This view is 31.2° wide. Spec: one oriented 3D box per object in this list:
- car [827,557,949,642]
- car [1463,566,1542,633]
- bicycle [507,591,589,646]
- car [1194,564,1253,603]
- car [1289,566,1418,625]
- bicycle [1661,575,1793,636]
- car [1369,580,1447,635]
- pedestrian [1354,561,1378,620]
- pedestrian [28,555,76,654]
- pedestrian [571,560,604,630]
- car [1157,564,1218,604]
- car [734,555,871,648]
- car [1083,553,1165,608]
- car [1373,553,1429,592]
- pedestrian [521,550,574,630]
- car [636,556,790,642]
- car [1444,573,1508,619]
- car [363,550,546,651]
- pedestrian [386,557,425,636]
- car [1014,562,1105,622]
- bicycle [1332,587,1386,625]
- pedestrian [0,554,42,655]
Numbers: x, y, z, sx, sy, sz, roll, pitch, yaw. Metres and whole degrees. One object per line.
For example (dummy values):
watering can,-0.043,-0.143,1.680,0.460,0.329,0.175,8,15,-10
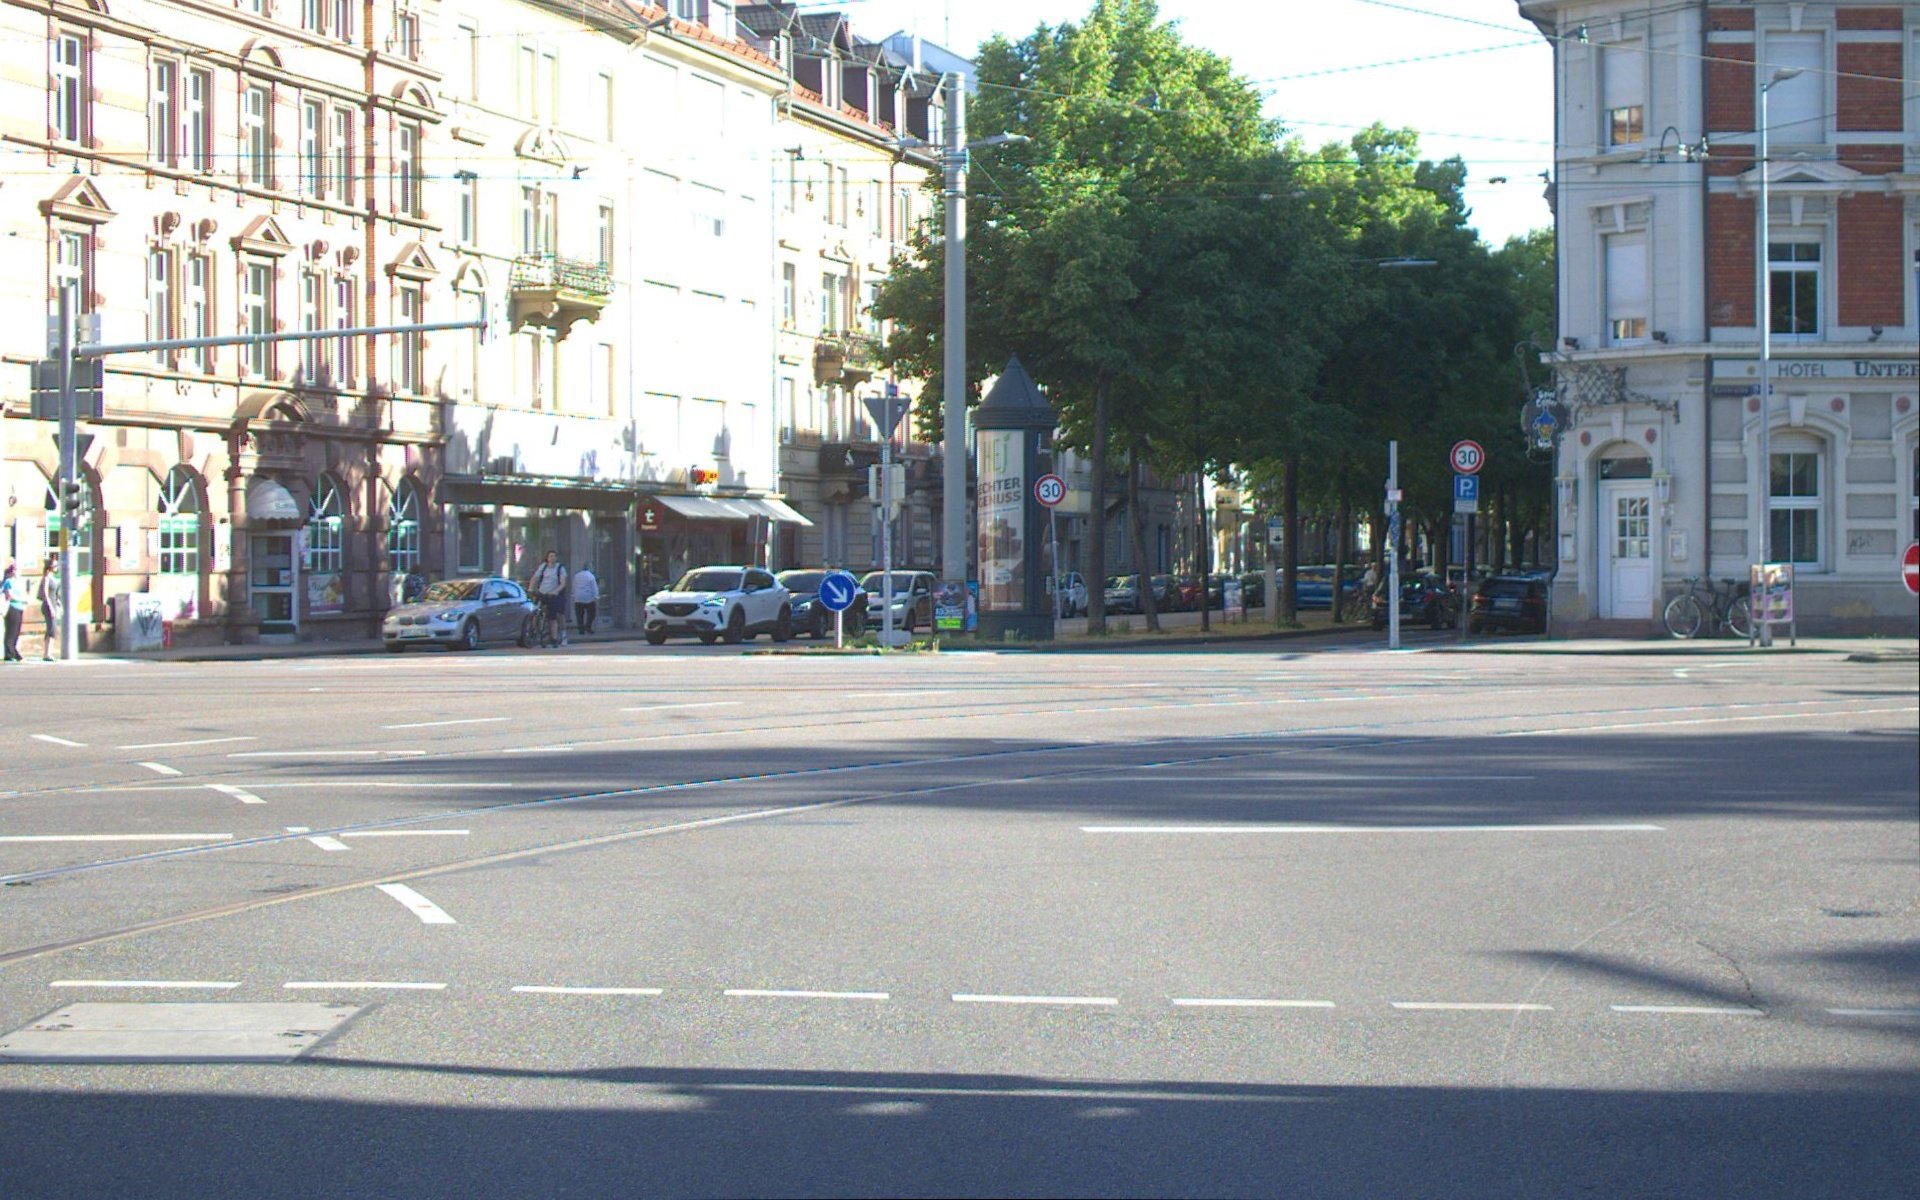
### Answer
car,-1.638,-0.020,79.750,1.994,1.897,3.998,1,1,11
car,13.065,-0.032,82.600,1.692,1.559,3.839,1,1,11
bicycle,-7.818,0.336,65.295,0.763,1.004,2.395,1,1,13
car,10.428,-0.652,136.022,1.560,1.508,3.653,1,1,17
car,13.158,-0.169,114.981,3.990,1.897,1.998,1,0,16
bicycle,12.729,0.086,57.086,2.049,0.994,0.630,0,0,3
car,11.606,0.170,88.883,1.754,1.357,3.854,1,1,11
pedestrian,12.339,-0.294,104.504,0.640,1.790,0.490,1,0,12
pedestrian,-15.114,0.075,57.245,0.633,1.628,0.701,1,0,-4
pedestrian,-8.713,-0.128,80.522,0.544,1.626,0.706,1,0,13
car,8.744,-0.626,132.002,1.560,1.508,3.653,1,1,17
car,-3.344,0.018,73.658,1.994,1.897,3.998,1,1,11
car,5.865,-0.688,122.373,1.995,1.897,3.997,1,1,17
car,17.287,-1.074,134.749,1.560,1.508,3.653,1,1,17
pedestrian,-7.832,-0.191,65.215,0.821,1.507,0.598,1,0,15
car,-4.791,-0.036,67.231,1.994,1.612,3.998,1,1,11
car,17.568,-0.152,116.991,1.773,1.525,3.997,1,1,14
car,-9.816,-0.005,67.082,1.995,1.897,3.997,1,1,17
pedestrian,-11.546,-0.077,71.586,0.544,1.626,0.706,1,0,13
car,3.278,-0.282,112.711,1.995,1.897,3.997,1,1,17
bicycle,11.502,0.165,99.078,0.626,1.081,1.703,1,1,-31
pedestrian,-15.335,0.073,55.913,0.633,1.628,0.701,1,0,-4
